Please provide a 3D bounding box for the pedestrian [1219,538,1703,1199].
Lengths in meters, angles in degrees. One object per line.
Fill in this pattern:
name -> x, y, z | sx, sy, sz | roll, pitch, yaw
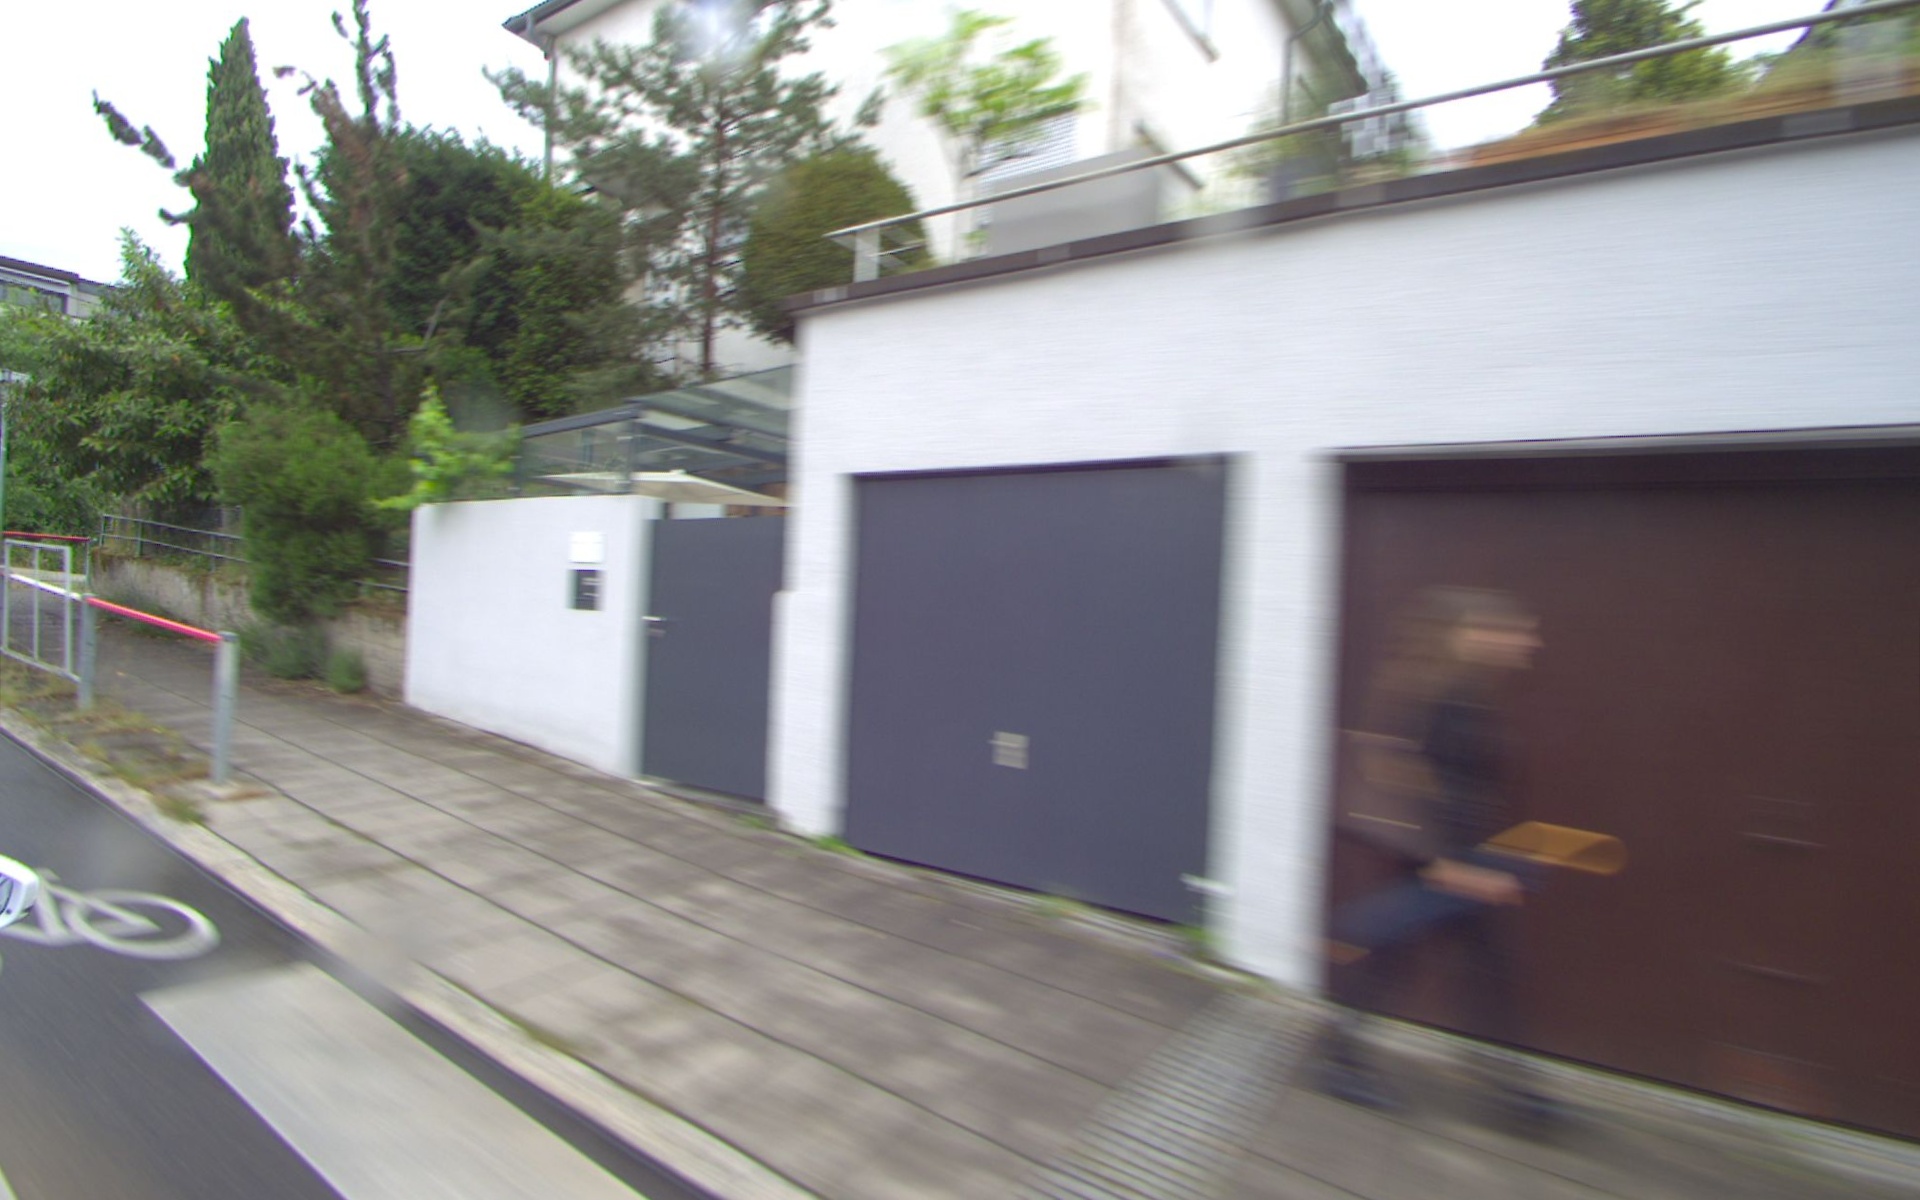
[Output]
pedestrian -> 1.516, 0.740, 3.095 | 1.043, 1.745, 0.803 | 6, 3, 34
